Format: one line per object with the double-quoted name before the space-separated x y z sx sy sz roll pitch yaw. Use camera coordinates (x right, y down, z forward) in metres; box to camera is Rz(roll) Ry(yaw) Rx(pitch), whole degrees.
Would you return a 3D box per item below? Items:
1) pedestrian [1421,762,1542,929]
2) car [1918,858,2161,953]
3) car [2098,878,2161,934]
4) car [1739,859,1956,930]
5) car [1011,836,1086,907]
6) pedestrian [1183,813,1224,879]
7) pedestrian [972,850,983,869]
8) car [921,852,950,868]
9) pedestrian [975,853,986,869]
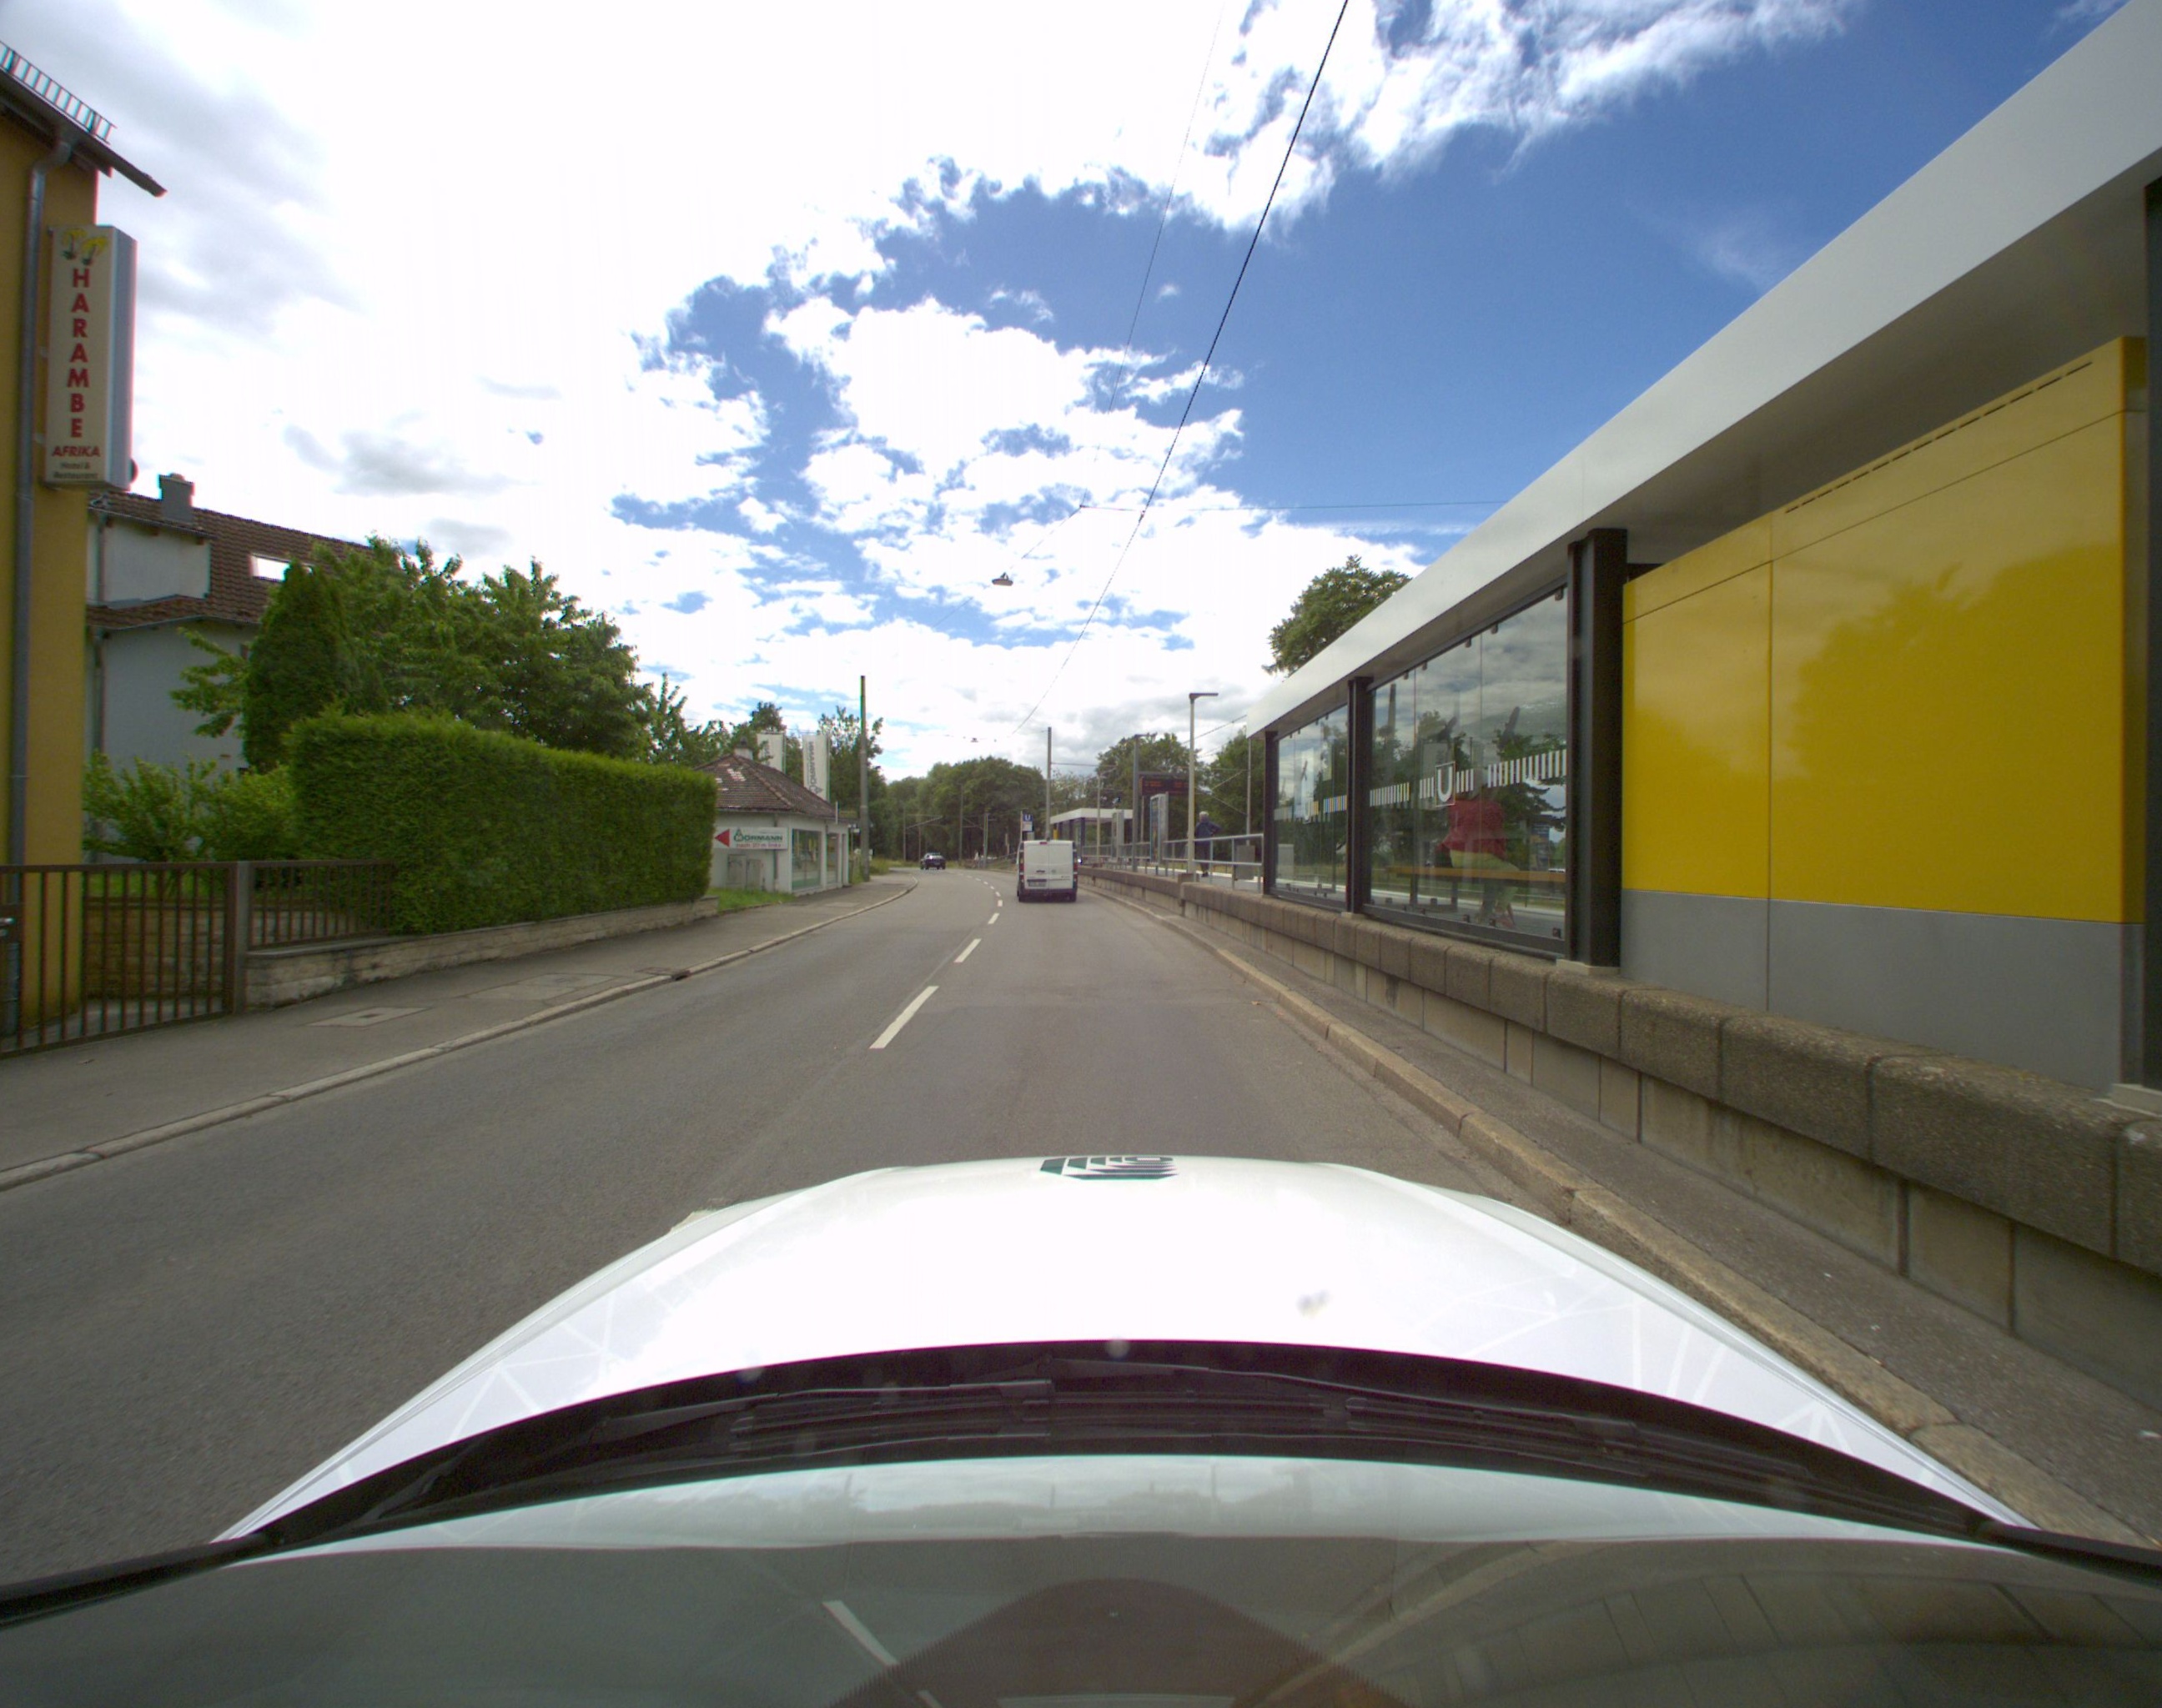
"pedestrian" 3.274 -0.065 6.712 0.619 1.299 0.719 1 0 -3
"car" 18.976 0.879 15.667 1.724 1.574 4.001 1 0 2
"car" 29.972 1.406 21.185 1.744 1.488 4.947 0 -1 14
"car" 19.205 0.947 20.697 1.750 1.574 4.101 1 0 2
"car" -1.229 0.533 27.562 2.114 2.134 5.428 2 0 -6
"pedestrian" 3.169 -0.194 21.099 0.883 1.671 0.909 1 0 -2
"pedestrian" -9.724 0.508 76.395 0.764 1.795 0.624 0 -1 -37
"car" -14.508 0.591 81.121 2.360 1.564 4.348 2 -1 -16
"pedestrian" -9.280 0.650 74.990 0.764 1.492 0.624 0 0 -37
